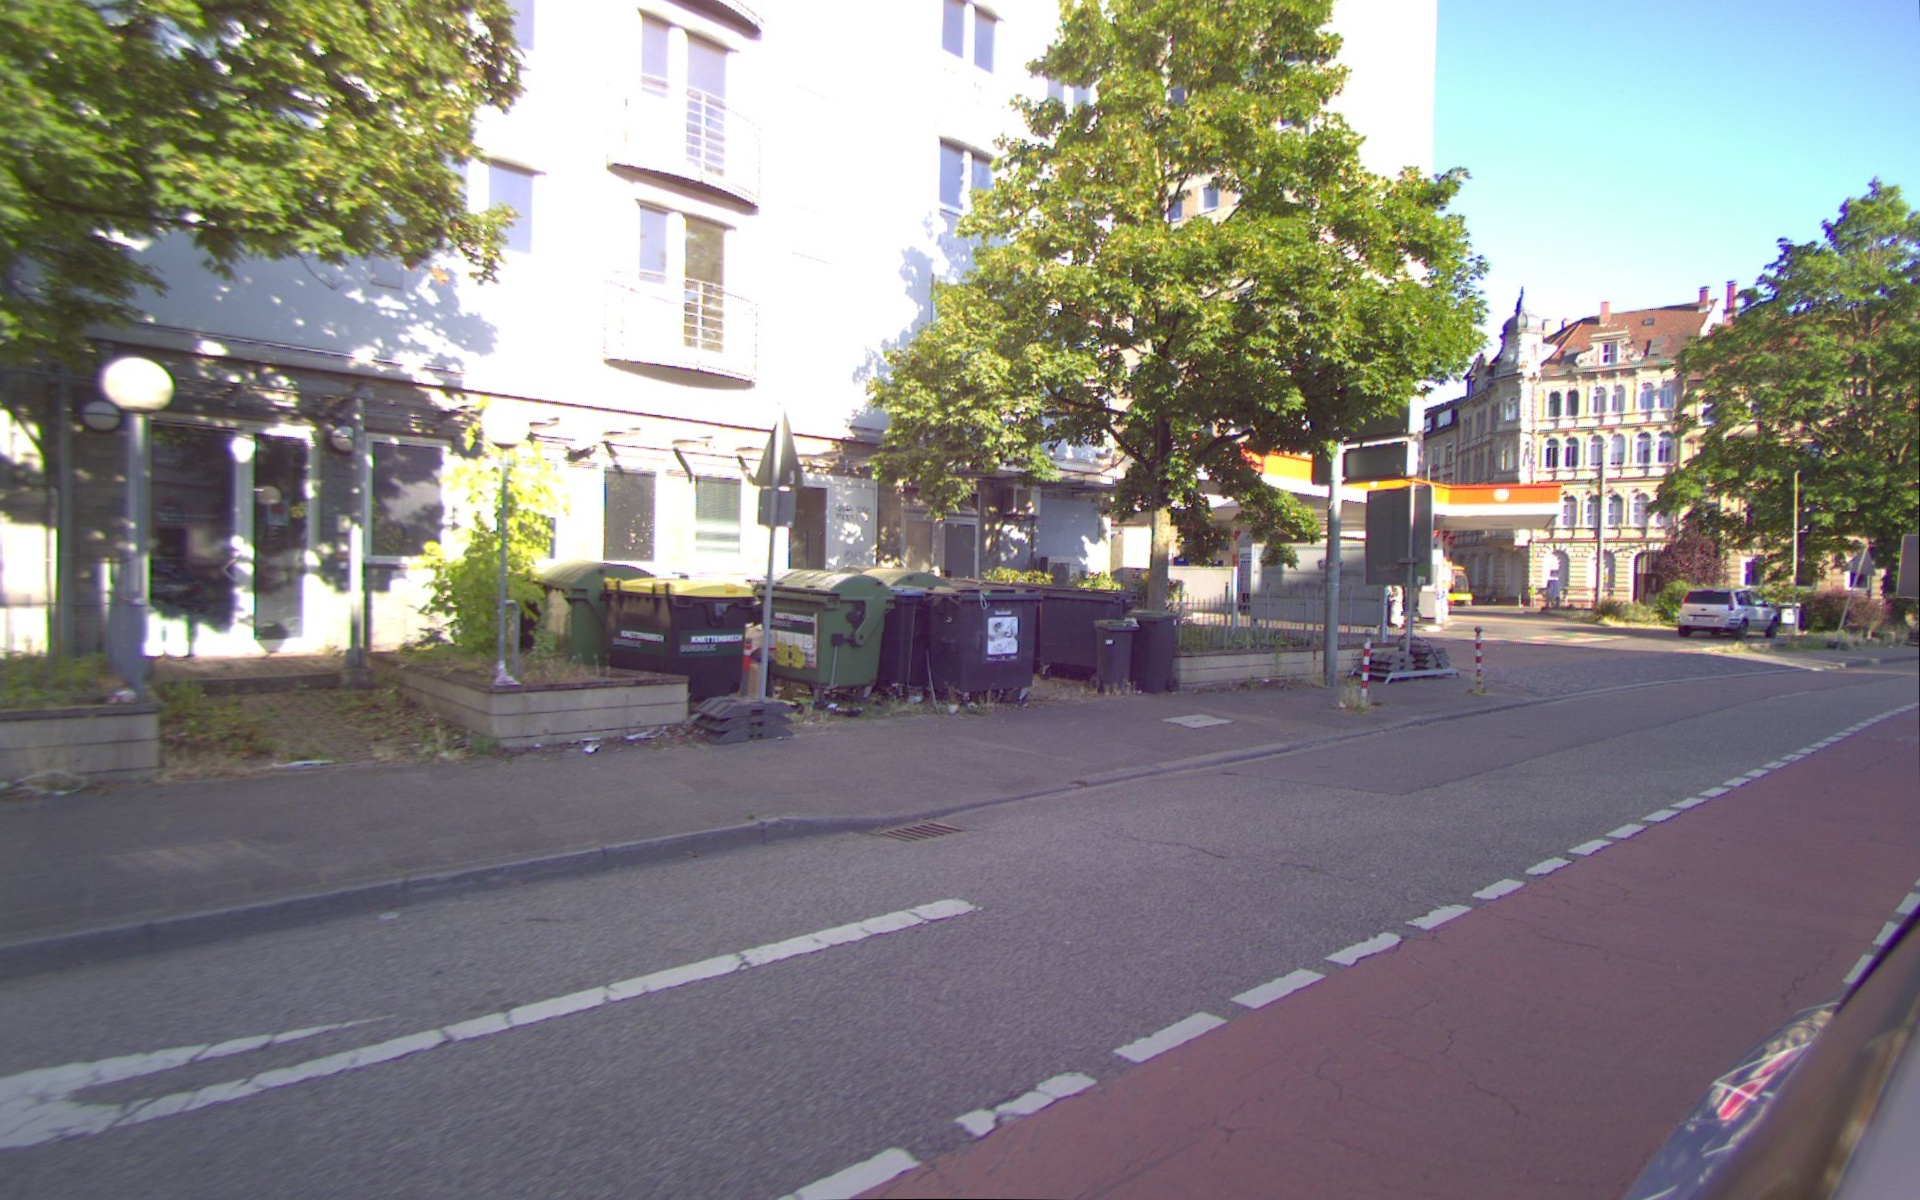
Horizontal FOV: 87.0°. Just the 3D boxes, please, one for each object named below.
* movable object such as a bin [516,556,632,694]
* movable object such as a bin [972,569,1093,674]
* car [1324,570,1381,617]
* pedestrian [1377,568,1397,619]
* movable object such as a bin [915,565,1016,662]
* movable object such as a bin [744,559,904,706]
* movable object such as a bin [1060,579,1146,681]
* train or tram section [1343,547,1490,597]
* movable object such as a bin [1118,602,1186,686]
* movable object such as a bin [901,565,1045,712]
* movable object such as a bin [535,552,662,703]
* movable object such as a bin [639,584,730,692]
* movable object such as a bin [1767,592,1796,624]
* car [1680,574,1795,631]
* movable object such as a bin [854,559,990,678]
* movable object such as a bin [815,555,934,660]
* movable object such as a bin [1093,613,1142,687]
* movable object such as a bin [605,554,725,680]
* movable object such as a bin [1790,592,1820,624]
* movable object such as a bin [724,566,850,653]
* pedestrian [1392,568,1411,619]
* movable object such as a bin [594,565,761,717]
[{"bbox_3d":[-4.513,0.252,11.805,0.939,1.503,1.128,0,2,-40],"label":"movable object such as a bin"},{"bbox_3d":[1.042,0.272,14.830,0.850,1.427,1.611,0,2,-41],"label":"movable object such as a bin"},{"bbox_3d":[13.422,-0.253,34.562,1.574,1.456,3.275,2,3,25],"label":"car"},{"bbox_3d":[13.811,-0.219,32.714,0.529,1.641,0.563,2,1,26],"label":"pedestrian"},{"bbox_3d":[0.074,0.184,16.088,0.850,1.427,1.408,0,2,-41],"label":"movable object such as a bin"},{"bbox_3d":[-1.520,0.315,11.335,1.325,1.503,1.193,2,2,40],"label":"movable object such as a bin"},{"bbox_3d":[1.964,0.389,13.923,0.850,1.325,0.779,0,2,-41],"label":"movable object such as a bin"},{"bbox_3d":[34.380,-2.182,76.968,2.810,3.551,11.323,1,2,-22],"label":"train or tram section"},{"bbox_3d":[2.537,0.567,13.407,0.605,1.059,0.621,0,2,-38],"label":"movable object such as a bin"},{"bbox_3d":[0.152,0.387,11.630,1.232,1.526,1.095,-3,4,-40],"label":"movable object such as a bin"},{"bbox_3d":[-3.867,0.251,10.805,0.940,1.503,1.105,0,2,-41],"label":"movable object such as a bin"},{"bbox_3d":[-3.155,0.404,11.566,0.639,1.143,1.025,0,2,-39],"label":"movable object such as a bin"},{"bbox_3d":[27.385,0.265,33.750,0.661,1.042,0.573,0,2,-36],"label":"movable object such as a bin"},{"bbox_3d":[23.814,0.055,30.978,3.819,1.613,1.626,0,2,-34],"label":"car"},{"bbox_3d":[-0.522,0.226,13.604,1.254,1.451,1.313,2,2,-35],"label":"movable object such as a bin"},{"bbox_3d":[-1.278,0.102,15.046,1.255,1.438,1.199,1,2,-38],"label":"movable object such as a bin"},{"bbox_3d":[2.044,0.641,13.131,0.481,0.918,0.394,0,1,-38],"label":"movable object such as a bin"},{"bbox_3d":[-3.789,0.183,12.950,0.998,1.503,1.329,0,2,-41],"label":"movable object such as a bin"},{"bbox_3d":[27.764,0.260,33.257,0.661,1.042,0.573,0,2,-36],"label":"movable object such as a bin"},{"bbox_3d":[-2.452,0.102,14.287,1.220,1.143,1.423,0,2,-39],"label":"movable object such as a bin"},{"bbox_3d":[14.497,-0.215,33.250,0.528,1.641,0.564,2,1,22],"label":"pedestrian"},{"bbox_3d":[-2.770,0.353,9.943,1.210,1.361,1.042,2,2,35],"label":"movable object such as a bin"}]
